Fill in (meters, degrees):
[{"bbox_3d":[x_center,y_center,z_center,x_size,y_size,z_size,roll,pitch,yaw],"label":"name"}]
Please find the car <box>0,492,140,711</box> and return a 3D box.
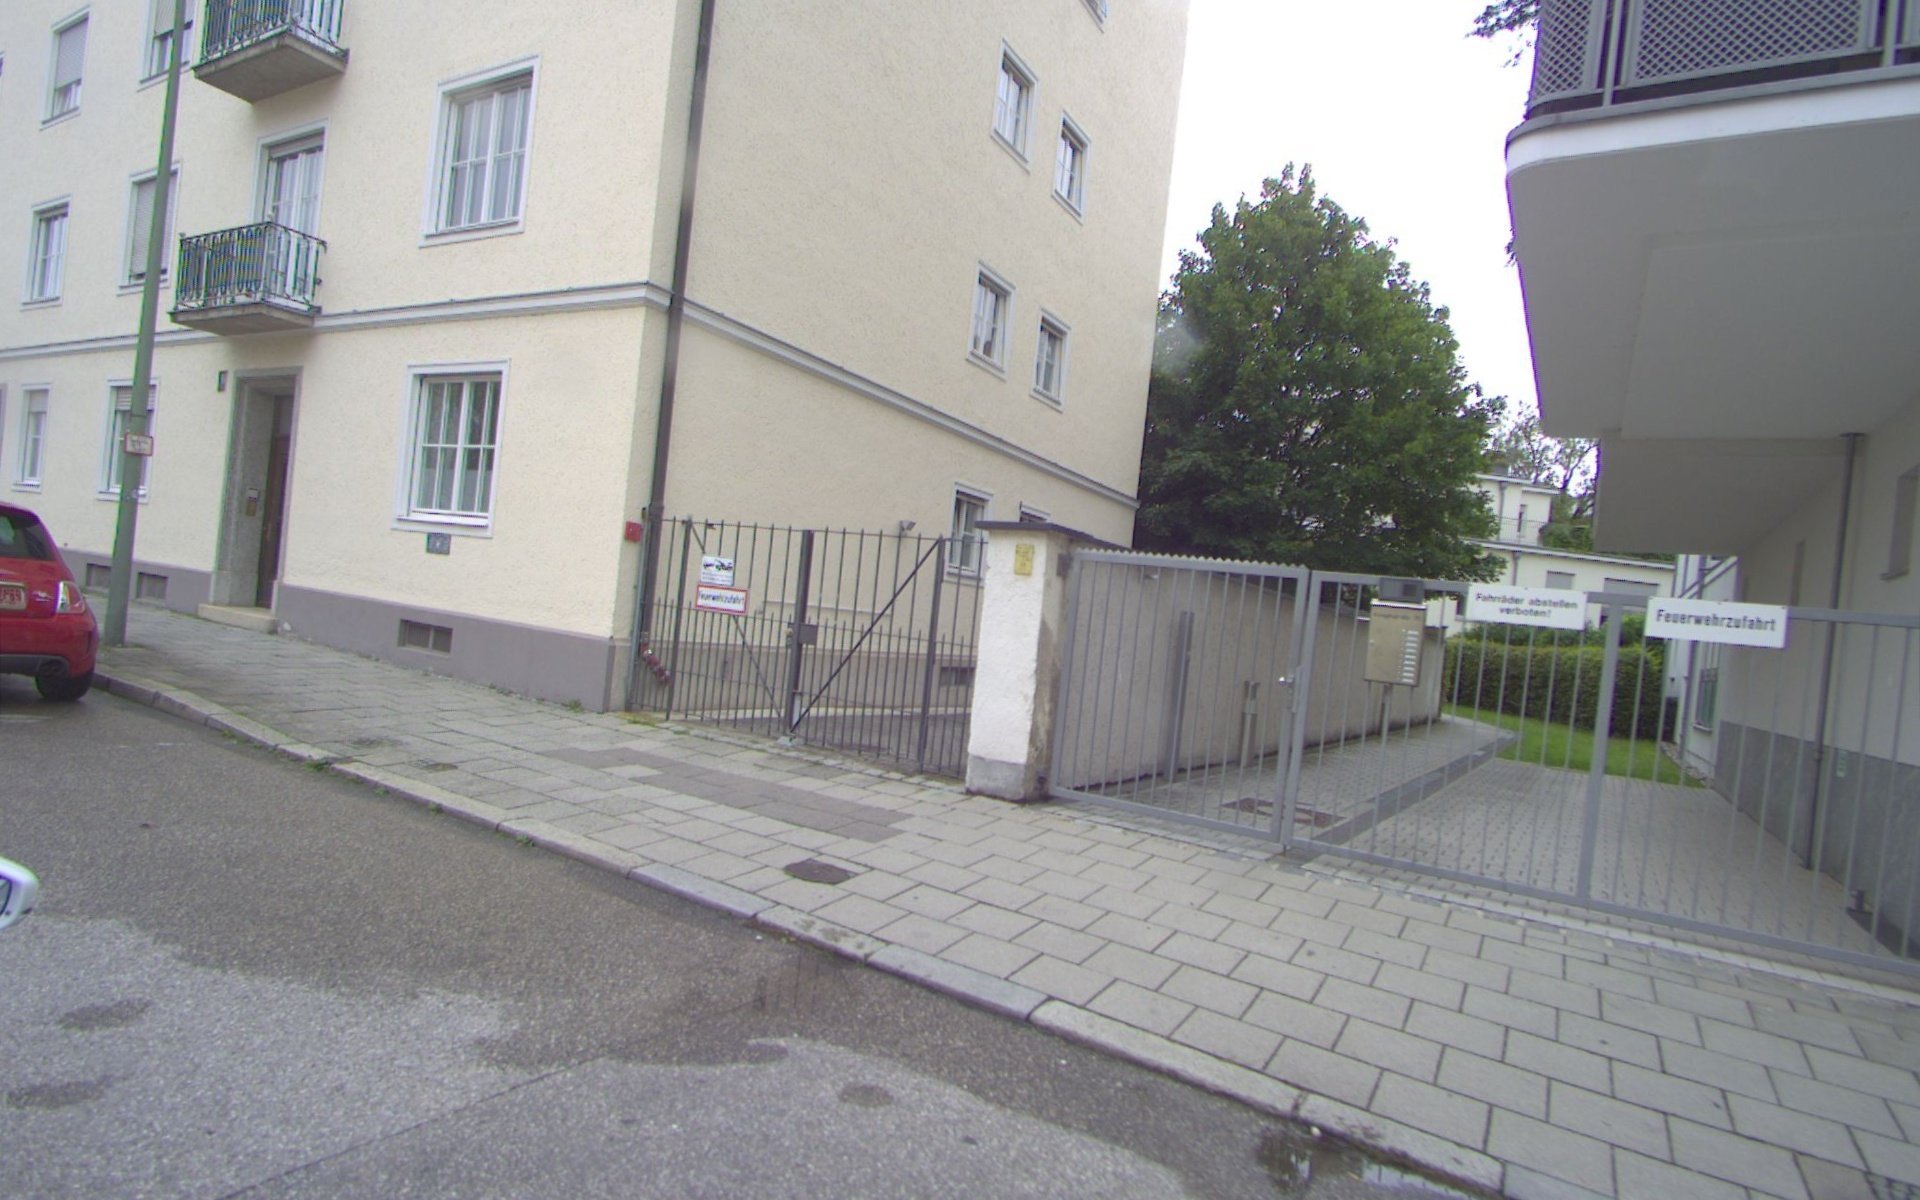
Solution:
[{"bbox_3d":[-8.299,-0.165,7.836,3.759,1.516,1.681,6,0,30],"label":"car"}]
